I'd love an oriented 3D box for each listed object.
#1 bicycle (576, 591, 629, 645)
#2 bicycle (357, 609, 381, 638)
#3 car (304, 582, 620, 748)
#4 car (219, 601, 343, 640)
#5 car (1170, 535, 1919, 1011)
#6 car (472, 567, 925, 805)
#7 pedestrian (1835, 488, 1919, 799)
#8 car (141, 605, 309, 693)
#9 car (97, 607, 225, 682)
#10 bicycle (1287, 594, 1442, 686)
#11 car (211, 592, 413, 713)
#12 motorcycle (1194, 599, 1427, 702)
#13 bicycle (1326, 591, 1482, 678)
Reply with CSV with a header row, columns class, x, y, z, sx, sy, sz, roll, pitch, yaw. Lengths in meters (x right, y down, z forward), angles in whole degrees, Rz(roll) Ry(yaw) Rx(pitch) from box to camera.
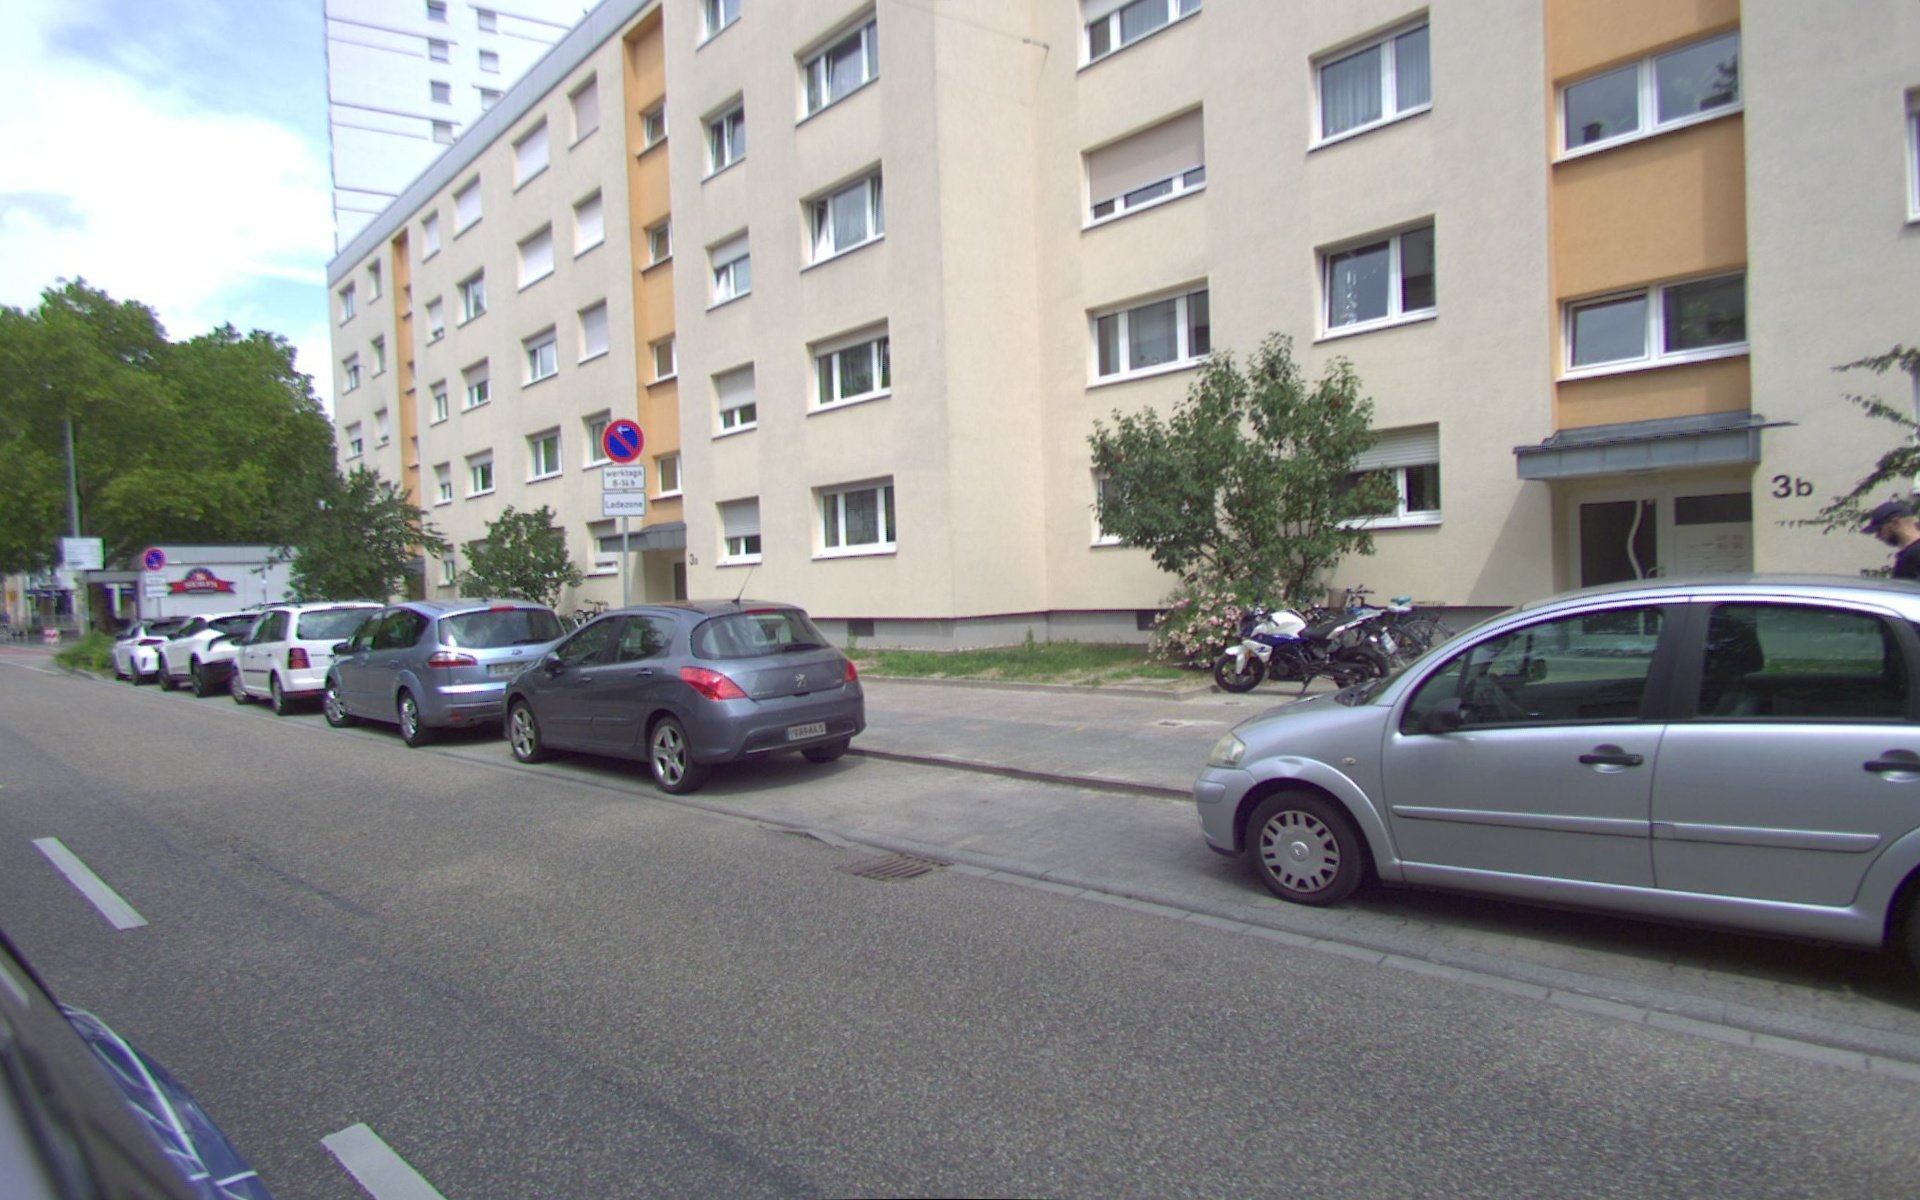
class,x,y,z,sx,sy,sz,roll,pitch,yaw
bicycle,-8.790,0.442,24.837,0.549,1.260,1.920,-2,0,-40
bicycle,-22.241,0.866,38.057,0.406,1.045,1.807,-2,1,-41
car,-6.417,0.692,12.741,4.862,1.624,1.921,-1,2,43
car,-31.519,0.918,47.079,4.575,1.699,1.851,-1,-1,-43
car,3.082,0.554,4.515,3.849,1.573,1.653,-1,2,41
car,-2.556,0.617,9.293,4.301,1.624,1.922,-1,2,42
pedestrian,5.908,0.244,6.105,0.898,1.826,0.613,-1,1,39
car,-14.517,0.909,19.918,3.986,1.484,1.692,-1,2,40
car,-18.508,0.978,23.394,3.989,1.484,1.690,-1,2,43
bicycle,4.723,0.453,11.884,1.615,0.993,0.435,-1,2,42
car,-10.594,0.765,16.408,4.478,1.624,1.679,-1,2,44
motorcycle,3.779,0.519,11.081,2.317,0.993,0.655,-1,2,42
bicycle,5.395,0.409,12.367,1.673,0.993,0.435,-1,2,42
